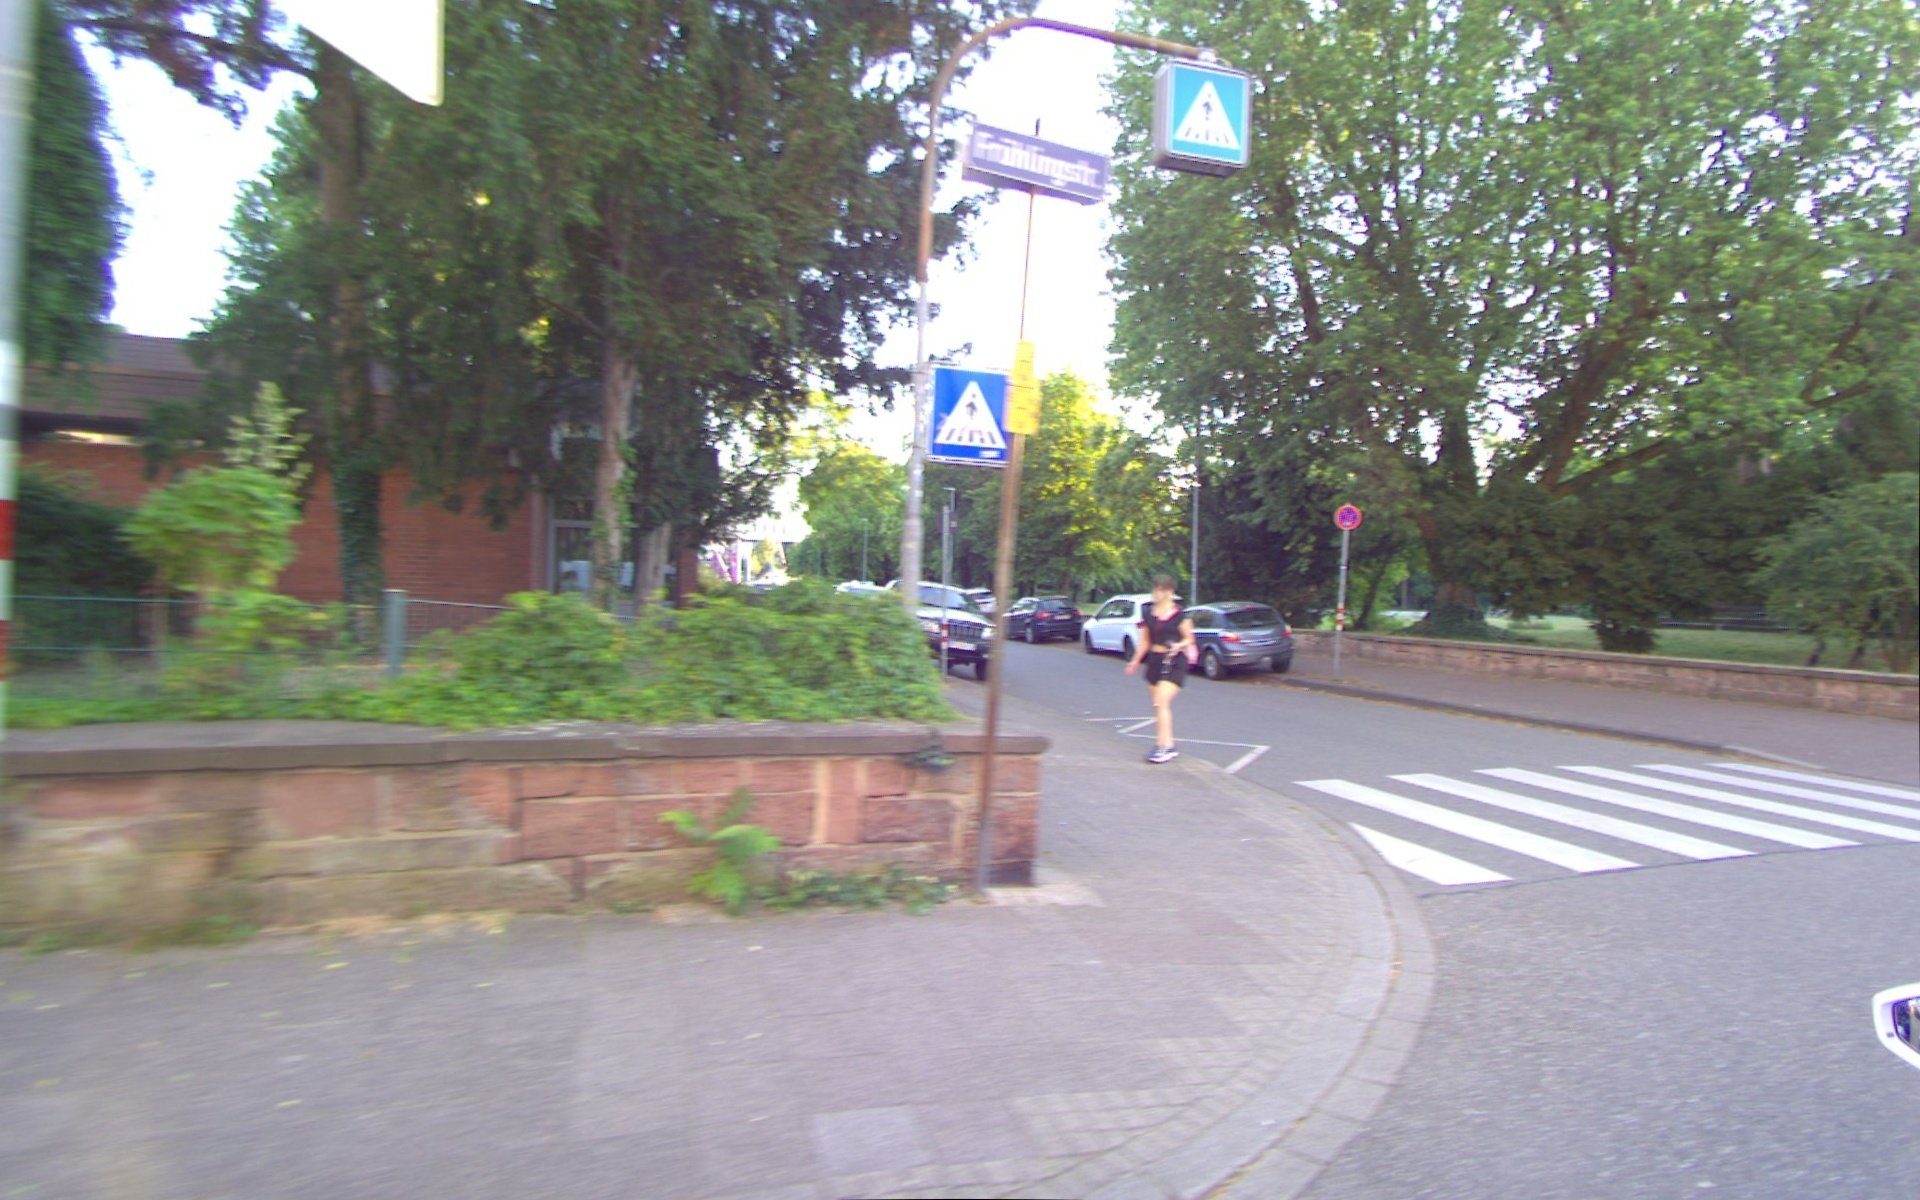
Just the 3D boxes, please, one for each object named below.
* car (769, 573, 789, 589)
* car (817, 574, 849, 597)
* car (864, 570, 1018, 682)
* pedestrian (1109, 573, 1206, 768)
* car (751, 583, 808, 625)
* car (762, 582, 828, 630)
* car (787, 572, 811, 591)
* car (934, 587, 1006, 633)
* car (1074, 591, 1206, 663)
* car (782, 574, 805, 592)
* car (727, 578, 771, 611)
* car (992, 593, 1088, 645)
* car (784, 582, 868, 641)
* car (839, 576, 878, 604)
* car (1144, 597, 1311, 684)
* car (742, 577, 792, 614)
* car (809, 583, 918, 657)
[{"bbox_3d":[-21.367,-2.217,118.461,1.793,1.625,3.869,-5,2,-15],"label":"car"},{"bbox_3d":[-9.737,-1.087,76.948,1.793,1.625,3.869,-5,2,-15],"label":"car"},{"bbox_3d":[-0.506,0.456,19.535,1.794,1.822,4.226,5,-1,-17],"label":"car"},{"bbox_3d":[1.800,0.605,9.140,0.636,1.671,0.673,3,3,28],"label":"pedestrian"},{"bbox_3d":[-7.684,0.165,42.388,1.794,1.565,4.226,5,-1,-17],"label":"car"},{"bbox_3d":[-6.209,0.202,37.450,1.794,1.565,4.226,5,-1,-17],"label":"car"},{"bbox_3d":[-15.442,-1.769,96.065,1.793,1.625,3.869,-5,2,-15],"label":"car"},{"bbox_3d":[0.340,0.368,40.543,1.793,1.625,3.869,-5,2,-15],"label":"car"},{"bbox_3d":[4.565,0.626,25.996,1.793,1.584,3.869,-5,2,-15],"label":"car"},{"bbox_3d":[-16.837,-1.707,101.487,1.793,1.625,3.869,-5,2,-15],"label":"car"},{"bbox_3d":[-11.255,-0.288,53.415,1.794,1.565,4.226,5,-1,-17],"label":"car"},{"bbox_3d":[2.518,0.566,32.571,1.793,1.459,3.869,-5,2,-15],"label":"car"},{"bbox_3d":[-4.176,0.321,30.729,1.794,1.565,4.226,5,-1,-17],"label":"car"},{"bbox_3d":[-6.714,-0.660,66.059,1.793,1.625,3.869,-5,2,-15],"label":"car"},{"bbox_3d":[5.534,0.767,21.315,1.791,1.512,3.855,-5,2,-12],"label":"car"},{"bbox_3d":[-9.172,-0.210,47.419,1.794,1.565,4.226,5,-1,-17],"label":"car"},{"bbox_3d":[-2.503,0.453,25.071,1.794,1.565,4.226,5,-1,-17],"label":"car"}]
